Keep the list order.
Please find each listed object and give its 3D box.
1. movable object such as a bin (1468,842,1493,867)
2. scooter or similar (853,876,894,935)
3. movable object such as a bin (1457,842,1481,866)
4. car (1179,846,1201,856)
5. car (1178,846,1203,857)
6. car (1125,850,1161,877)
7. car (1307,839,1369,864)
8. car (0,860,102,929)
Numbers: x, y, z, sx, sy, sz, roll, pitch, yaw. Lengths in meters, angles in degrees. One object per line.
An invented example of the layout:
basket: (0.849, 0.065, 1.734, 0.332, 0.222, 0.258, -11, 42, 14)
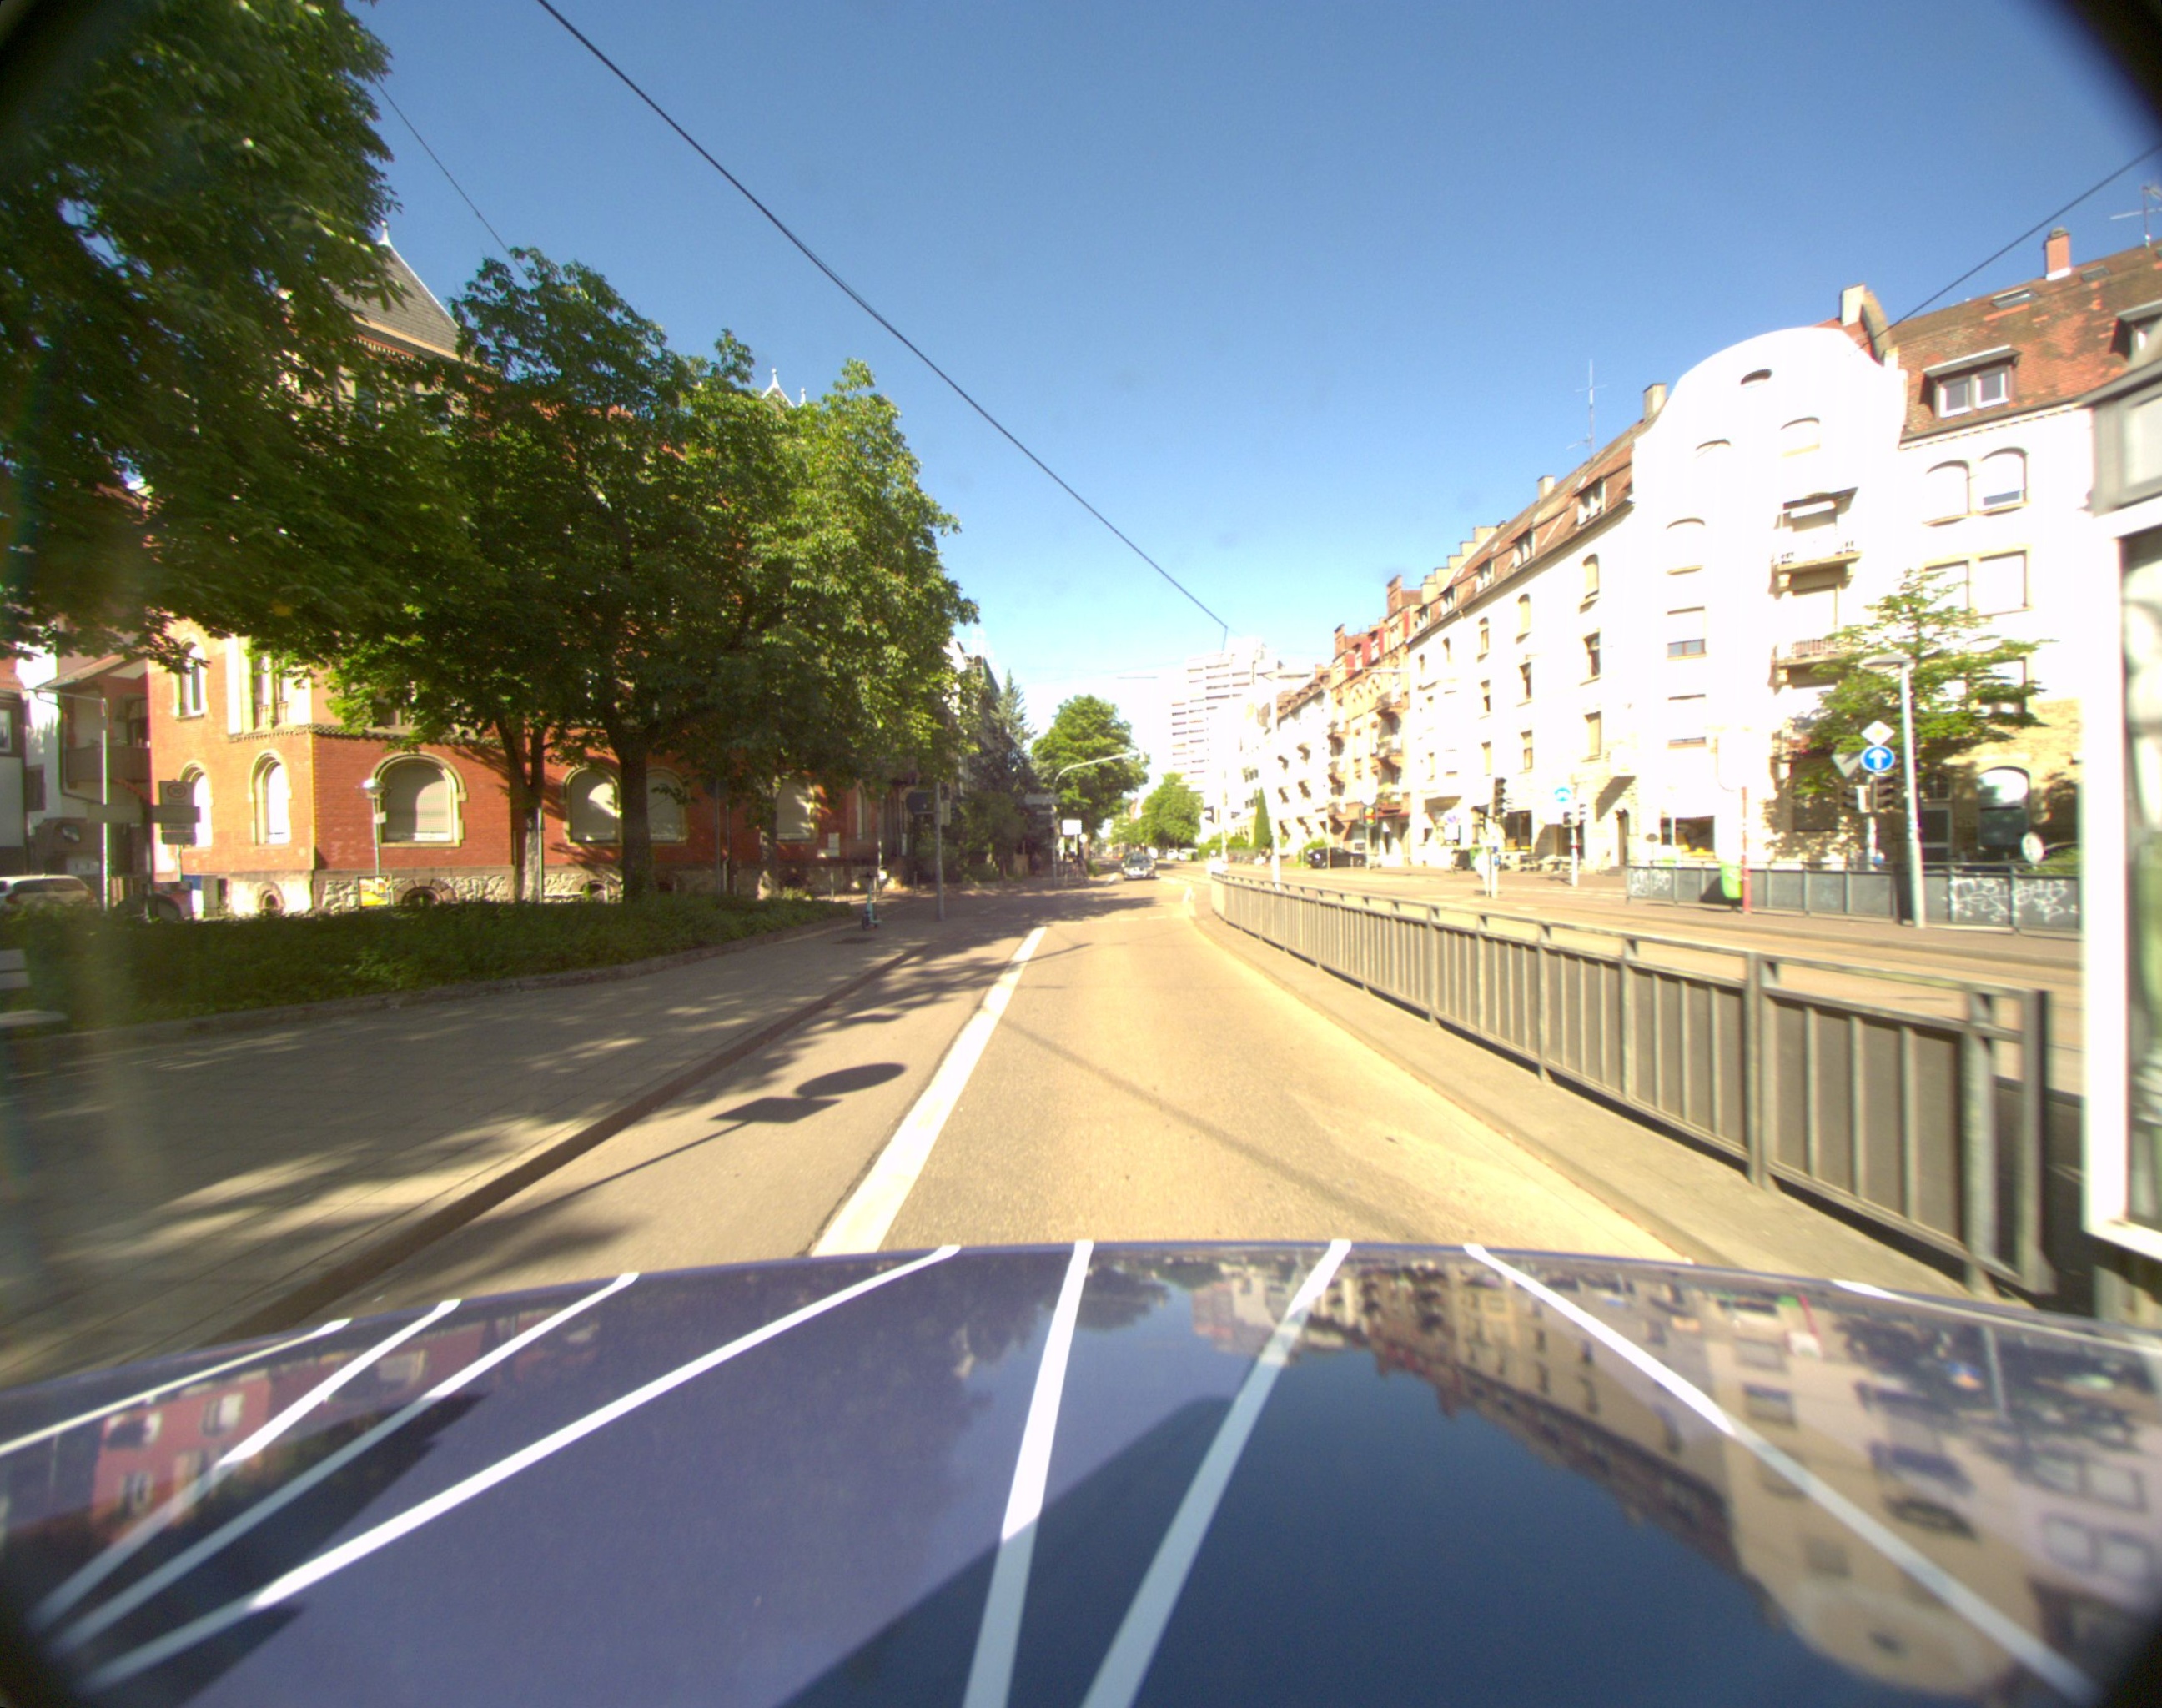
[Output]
movable object such as a bin: (21.453, 0.015, 40.816, 0.878, 1.301, 0.748, -3, 1, -5)
scooter or similar: (-4.580, 1.115, 16.811, 0.519, 1.241, 1.276, -1, -1, 1)
movable object such as a bin: (21.247, 0.003, 41.654, 0.878, 1.301, 0.748, -3, 1, -5)
car: (16.338, -0.461, 113.528, 1.565, 1.412, 3.229, -2, 1, 44)
car: (15.877, -0.377, 109.970, 3.214, 1.412, 1.572, -2, 1, 32)
car: (3.441, 0.493, 42.743, 1.726, 1.390, 3.613, -3, 1, 1)
car: (18.801, -0.204, 55.650, 3.886, 1.581, 1.816, -3, 5, -4)
car: (-28.916, 1.118, 20.908, 3.794, 1.707, 1.637, -2, 1, 26)
